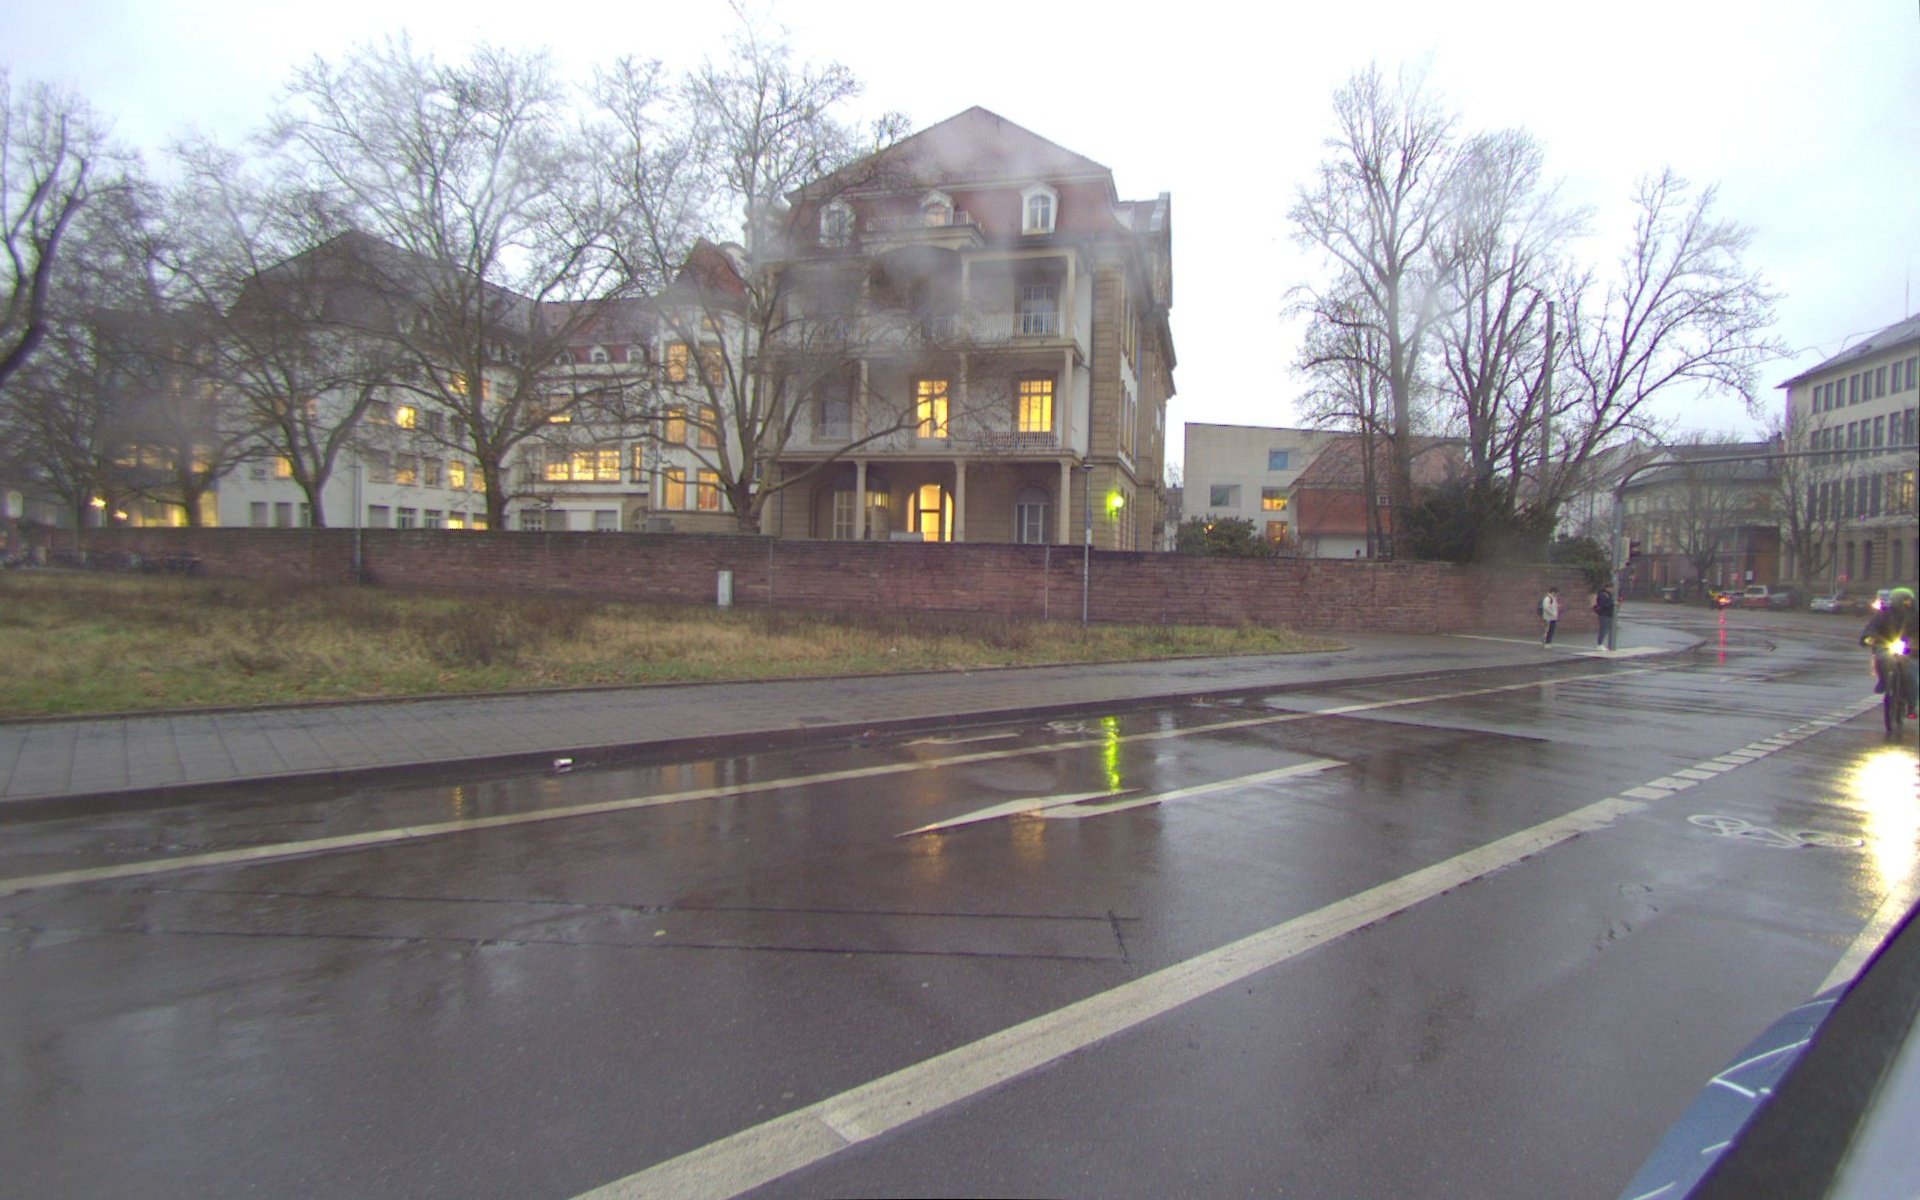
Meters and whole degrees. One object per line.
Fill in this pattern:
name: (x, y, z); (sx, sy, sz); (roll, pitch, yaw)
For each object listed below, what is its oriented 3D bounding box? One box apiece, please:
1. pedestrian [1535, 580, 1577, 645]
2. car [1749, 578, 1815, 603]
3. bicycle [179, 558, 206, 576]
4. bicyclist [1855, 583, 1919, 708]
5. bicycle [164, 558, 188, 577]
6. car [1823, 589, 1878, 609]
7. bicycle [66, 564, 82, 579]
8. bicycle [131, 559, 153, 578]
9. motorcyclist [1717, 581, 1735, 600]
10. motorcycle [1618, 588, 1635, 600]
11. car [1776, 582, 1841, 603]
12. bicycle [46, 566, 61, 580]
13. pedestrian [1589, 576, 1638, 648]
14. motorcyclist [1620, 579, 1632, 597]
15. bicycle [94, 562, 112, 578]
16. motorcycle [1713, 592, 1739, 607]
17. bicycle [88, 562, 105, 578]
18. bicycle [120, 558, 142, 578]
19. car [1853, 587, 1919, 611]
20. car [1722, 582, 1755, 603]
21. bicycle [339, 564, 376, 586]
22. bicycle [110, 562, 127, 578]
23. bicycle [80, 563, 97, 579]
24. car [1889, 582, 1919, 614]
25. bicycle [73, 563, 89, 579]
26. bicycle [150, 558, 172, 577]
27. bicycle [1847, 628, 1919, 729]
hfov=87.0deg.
pedestrian: (16.620, 0.330, 28.228); (0.663, 1.744, 0.797); (0, 3, -43)
car: (64.988, -0.789, 80.017); (3.916, 1.924, 2.052); (0, 0, -13)
bicycle: (-34.205, -1.463, 45.109); (1.399, 0.796, 0.355); (0, 0, 26)
bicyclist: (11.596, 0.528, 12.412); (1.114, 1.471, 0.784); (0, 0, -41)
bicycle: (-35.545, -1.464, 45.858); (1.519, 0.796, 0.389); (0, 0, 33)
car: (63.609, -0.080, 72.294); (3.568, 1.322, 1.712); (-1, 0, -25)
bicycle: (-47.890, -1.533, 54.673); (1.522, 0.796, 0.389); (0, 0, 38)
bicycle: (-38.621, -1.502, 47.767); (1.519, 0.869, 0.389); (0, 0, 33)
motorcyclist: (57.159, -0.731, 75.505); (0.691, 1.400, 0.863); (2, 2, 15)
motorcycle: (65.229, -0.580, 99.090); (0.716, 1.067, 2.157); (3, 2, 15)
car: (64.706, -0.583, 77.219); (3.916, 1.570, 1.805); (0, 0, -13)
bicycle: (-51.603, -1.541, 57.592); (1.522, 0.796, 0.389); (0, 0, 38)
pedestrian: (18.278, 0.320, 28.319); (0.996, 1.924, 0.664); (4, 3, 41)
motorcyclist: (65.244, -1.189, 99.096); (0.701, 1.738, 0.738); (2, 2, 16)
bicycle: (-43.125, -1.490, 50.896); (1.522, 0.796, 0.389); (0, 0, 38)
motorcycle: (57.119, -0.054, 75.462); (0.703, 1.067, 2.158); (3, 2, 15)
bicycle: (-44.173, -1.524, 51.767); (1.522, 0.796, 0.389); (0, 0, 38)
bicycle: (-39.903, -1.534, 48.720); (1.519, 0.928, 0.389); (0, 0, 33)
car: (61.969, -0.058, 67.000); (3.927, 1.570, 1.800); (0, 0, 4)
car: (66.488, -0.642, 86.381); (1.992, 1.690, 3.940); (0, 1, 42)
bicycle: (-23.379, -0.984, 39.269); (1.366, 0.835, 0.392); (0, 0, 14)
bicycle: (-41.469, -1.471, 49.875); (1.599, 0.796, 0.388); (0, 0, 41)
bicycle: (-45.436, -1.527, 52.740); (1.522, 0.796, 0.389); (0, 0, 38)
car: (58.034, -0.139, 61.087); (3.921, 1.868, 1.886); (-1, 0, -31)
bicycle: (-46.667, -1.530, 53.719); (1.522, 0.796, 0.389); (0, 0, 38)
bicycle: (-37.025, -1.492, 46.884); (1.480, 0.849, 0.346); (0, 0, 32)
bicycle: (11.609, 0.930, 12.461); (1.923, 1.088, 0.784); (-1, 0, -41)
